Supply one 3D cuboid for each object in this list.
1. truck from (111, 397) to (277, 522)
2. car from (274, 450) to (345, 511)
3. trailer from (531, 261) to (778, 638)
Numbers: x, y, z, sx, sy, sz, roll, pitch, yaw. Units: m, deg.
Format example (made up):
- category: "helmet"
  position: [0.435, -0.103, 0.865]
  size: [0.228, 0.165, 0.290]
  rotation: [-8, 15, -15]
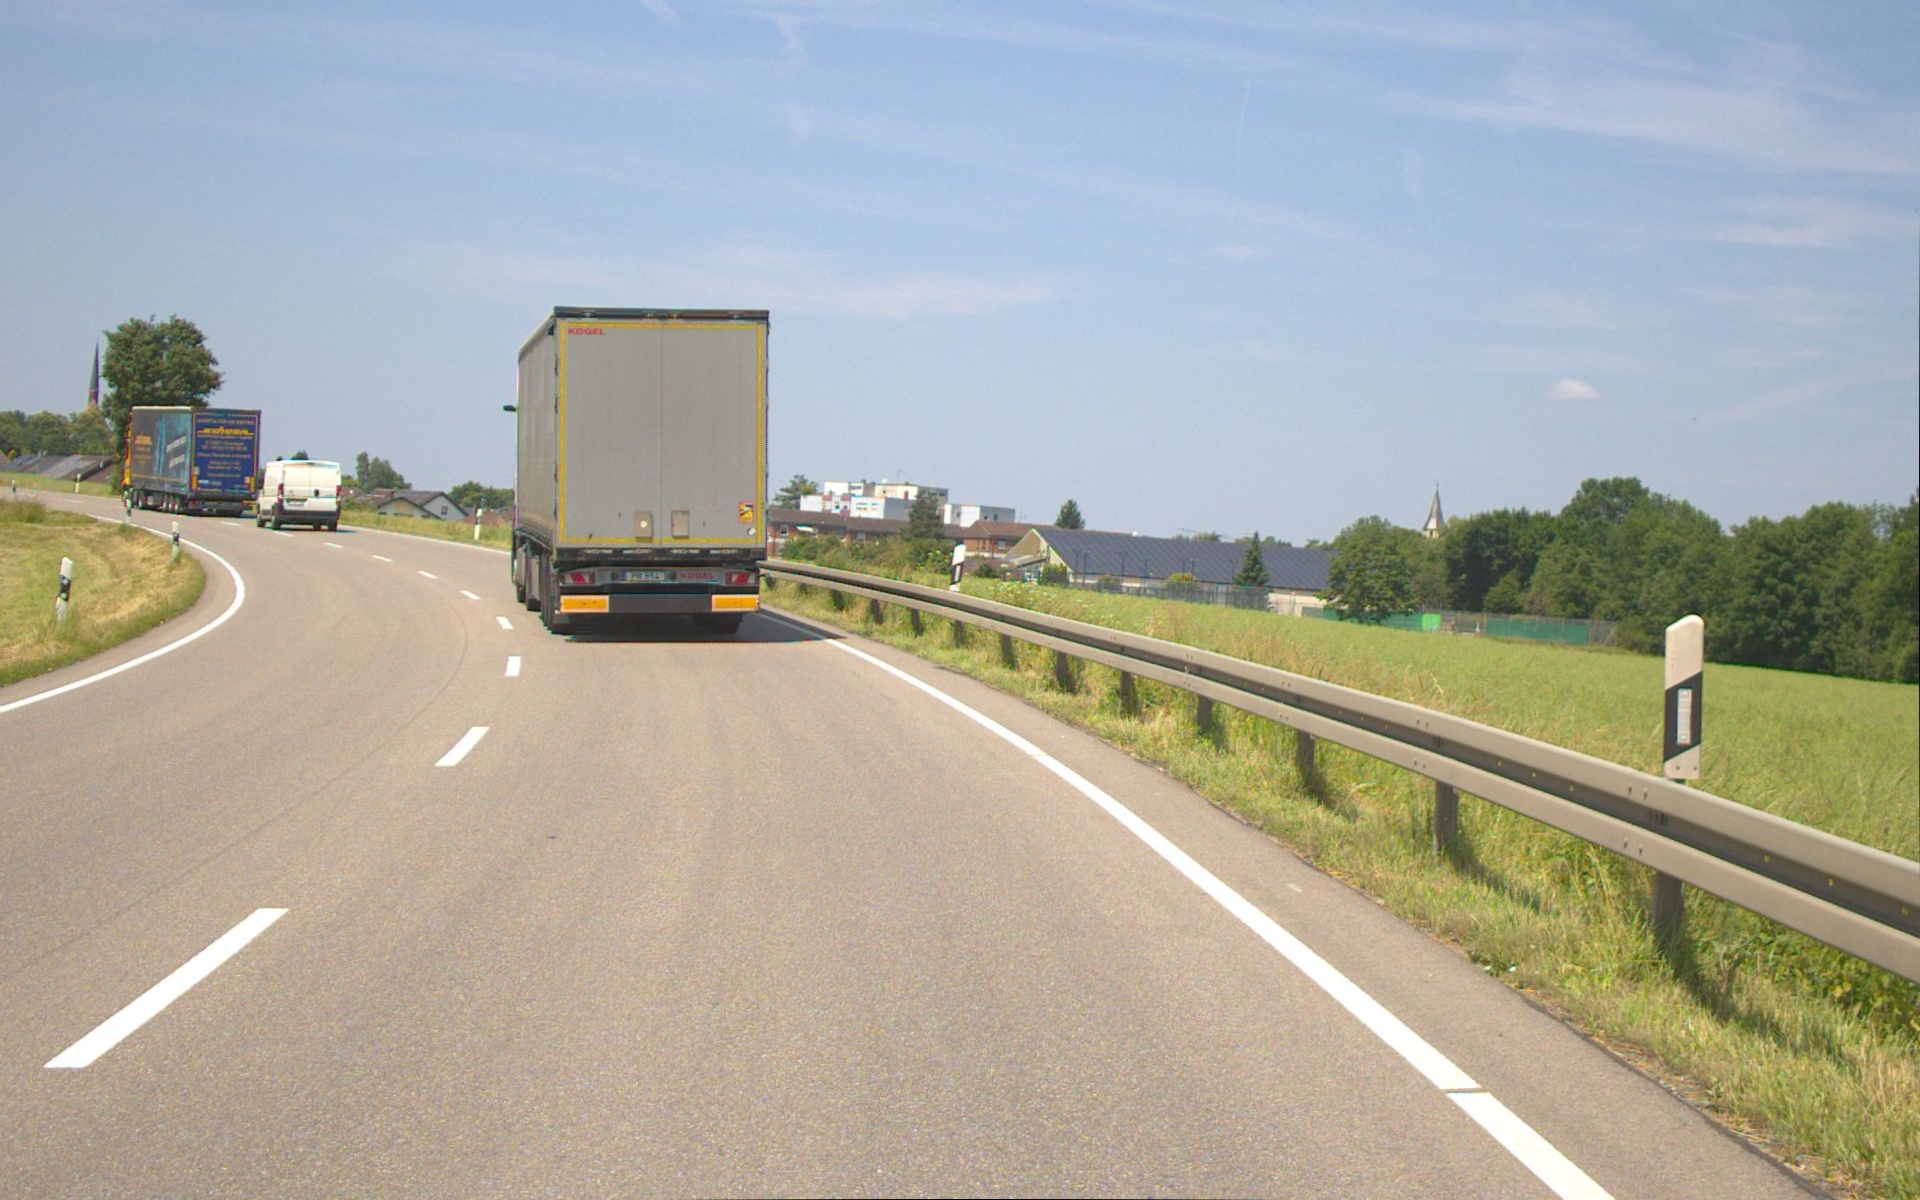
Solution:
- category: "truck"
  position: [-30.027, -5.438, 133.984]
  size: [3.548, 4.377, 18.127]
  rotation: [2, 1, -21]
- category: "car"
  position: [-21.001, -3.864, 110.901]
  size: [1.725, 1.866, 4.002]
  rotation: [2, 2, -18]
- category: "trailer"
  position: [-4.300, -1.961, 47.038]
  size: [2.866, 4.385, 13.496]
  rotation: [0, 2, -6]
